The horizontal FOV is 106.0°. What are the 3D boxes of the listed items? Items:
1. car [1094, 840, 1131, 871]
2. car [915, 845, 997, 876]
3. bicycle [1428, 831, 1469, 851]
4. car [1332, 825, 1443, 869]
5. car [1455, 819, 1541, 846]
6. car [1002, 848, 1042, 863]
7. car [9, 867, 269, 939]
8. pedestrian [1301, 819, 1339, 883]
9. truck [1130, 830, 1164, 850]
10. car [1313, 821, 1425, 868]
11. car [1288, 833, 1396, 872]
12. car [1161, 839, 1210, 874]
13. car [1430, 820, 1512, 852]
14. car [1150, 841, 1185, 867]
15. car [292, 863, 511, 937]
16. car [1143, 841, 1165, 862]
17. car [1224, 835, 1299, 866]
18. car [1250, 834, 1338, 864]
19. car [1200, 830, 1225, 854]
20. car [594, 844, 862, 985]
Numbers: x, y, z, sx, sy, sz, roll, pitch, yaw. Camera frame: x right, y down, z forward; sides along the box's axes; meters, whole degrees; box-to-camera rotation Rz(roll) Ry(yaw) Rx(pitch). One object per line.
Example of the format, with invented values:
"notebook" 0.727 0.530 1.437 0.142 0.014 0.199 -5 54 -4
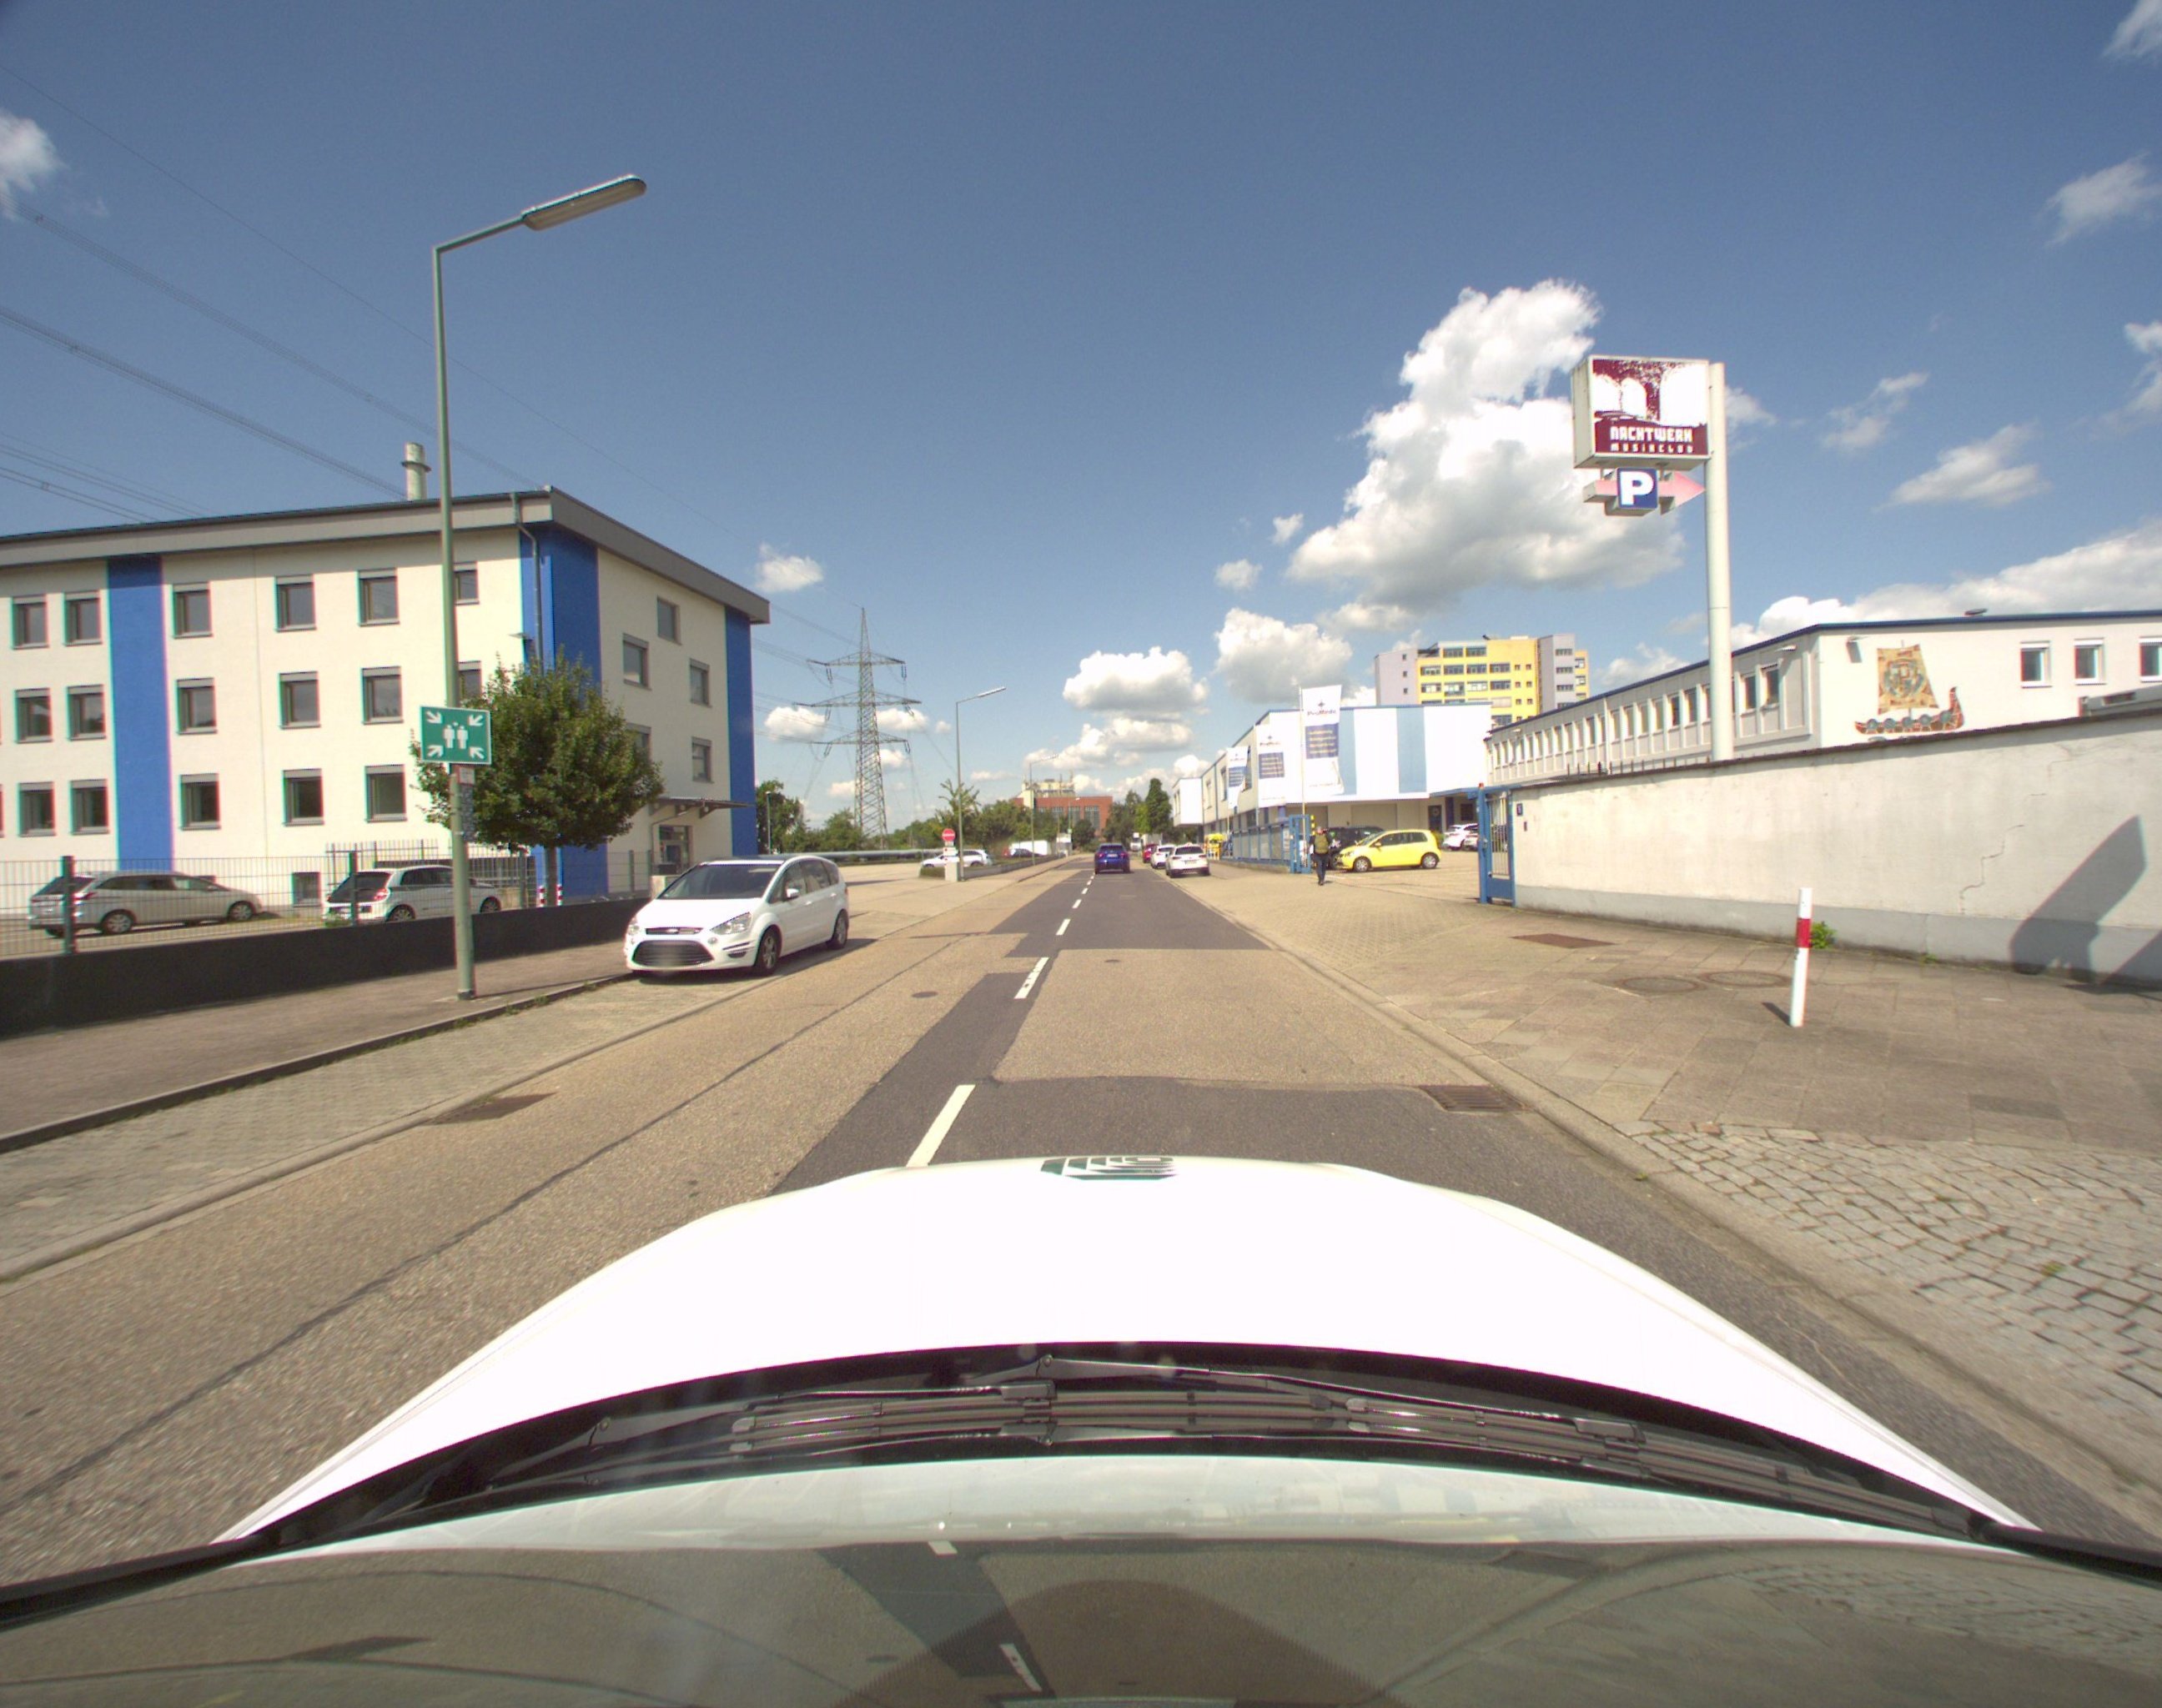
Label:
"car" 1.734 0.070 45.444 1.902 1.593 4.703 -1 0 2
"car" -7.748 0.403 50.759 4.742 1.602 1.999 -3 0 -2
"bicycle" 23.188 -0.818 51.397 2.216 1.212 0.642 -2 0 1
"car" 11.105 -0.251 29.689 3.391 1.490 1.792 -1 0 1
"car" 23.927 -1.214 46.835 3.972 1.399 1.807 -2 1 1
"car" -6.152 0.178 84.870 3.971 1.376 1.805 -2 1 2
"car" -26.072 1.269 22.831 1.814 1.655 4.454 -2 0 7
"pedestrian" 6.907 -0.085 23.567 0.766 1.756 0.787 -4 0 1
"truck" 12.775 -2.721 156.538 2.299 3.567 9.428 0 2 33
"car" 11.262 -0.369 32.037 3.792 1.680 1.792 -1 0 1
"car" 11.035 -0.073 34.696 3.971 1.420 2.002 -2 1 2
"car" 4.915 0.080 38.716 1.860 1.520 4.600 -1 0 2
"car" 23.431 -1.069 49.034 4.042 1.740 1.807 -2 1 1
"car" 5.401 -0.033 51.426 1.828 1.520 4.463 -1 0 2
"car" -16.389 1.046 19.924 1.862 1.507 3.767 -2 0 8
"car" 6.261 -0.215 70.255 1.747 1.650 4.683 -1 0 4
"car" 10.889 -0.225 49.375 4.070 1.686 2.000 -2 1 0
"car" 11.578 -0.259 44.451 4.262 1.420 2.002 -2 1 2
"car" 14.093 -1.271 87.547 1.916 2.463 5.263 -1 0 2
"car" -4.995 0.732 12.421 1.860 1.708 4.755 -1 0 2
